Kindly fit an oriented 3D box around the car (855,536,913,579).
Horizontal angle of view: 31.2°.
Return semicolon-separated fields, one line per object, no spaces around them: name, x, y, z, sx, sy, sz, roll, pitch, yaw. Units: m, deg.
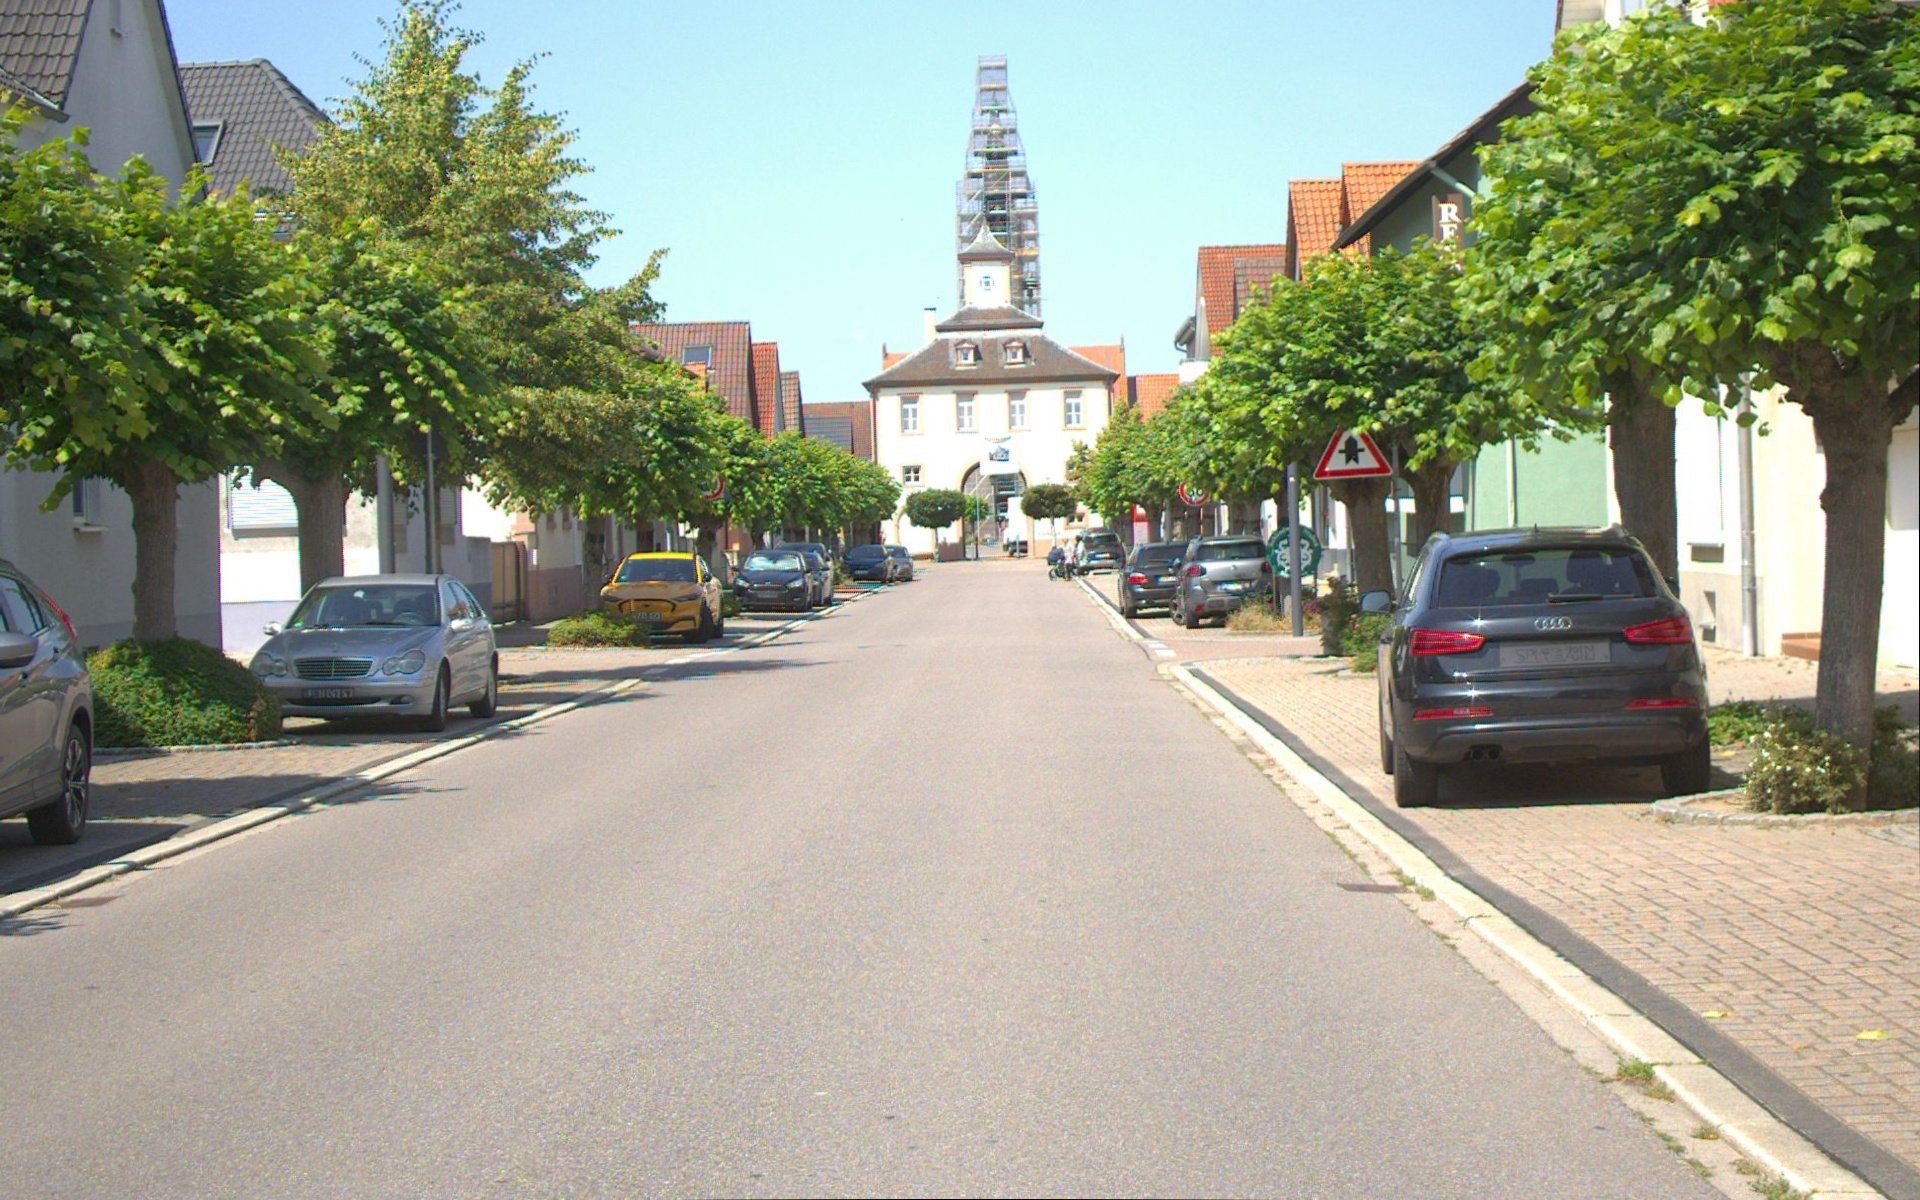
car;-2.912;-1.624;132.127;1.993;1.606;3.855;0;0;2

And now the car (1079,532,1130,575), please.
car;5.531;-1.789;131.817;1.837;1.550;4.313;-3;1;2

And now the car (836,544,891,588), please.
car;-3.528;-1.276;126.404;1.757;1.550;4.020;-1;1;2

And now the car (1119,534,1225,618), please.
car;4.221;-0.507;68.975;1.837;1.550;4.314;-3;1;1

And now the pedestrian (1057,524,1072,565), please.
pedestrian;3.558;-1.896;117.450;0.358;1.398;0.319;-1;1;39

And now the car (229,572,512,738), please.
car;-5.441;0.463;32.258;1.840;1.391;4.406;-1;1;1

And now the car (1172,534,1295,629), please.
car;4.845;-0.362;61.313;1.837;1.602;4.000;-1;1;0

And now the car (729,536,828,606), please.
car;-4.377;-0.730;83.427;1.993;1.606;4.689;0;2;2

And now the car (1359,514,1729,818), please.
car;3.436;0.317;20.889;1.824;1.580;4.056;-3;1;5

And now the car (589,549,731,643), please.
car;-5.356;-0.106;61.928;1.993;1.606;4.689;0;1;2

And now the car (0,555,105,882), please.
car;-5.881;0.600;17.767;1.993;1.647;4.368;0;1;-2

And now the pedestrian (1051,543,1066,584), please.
pedestrian;3.379;-1.262;118.455;0.358;1.398;0.319;-1;1;39
